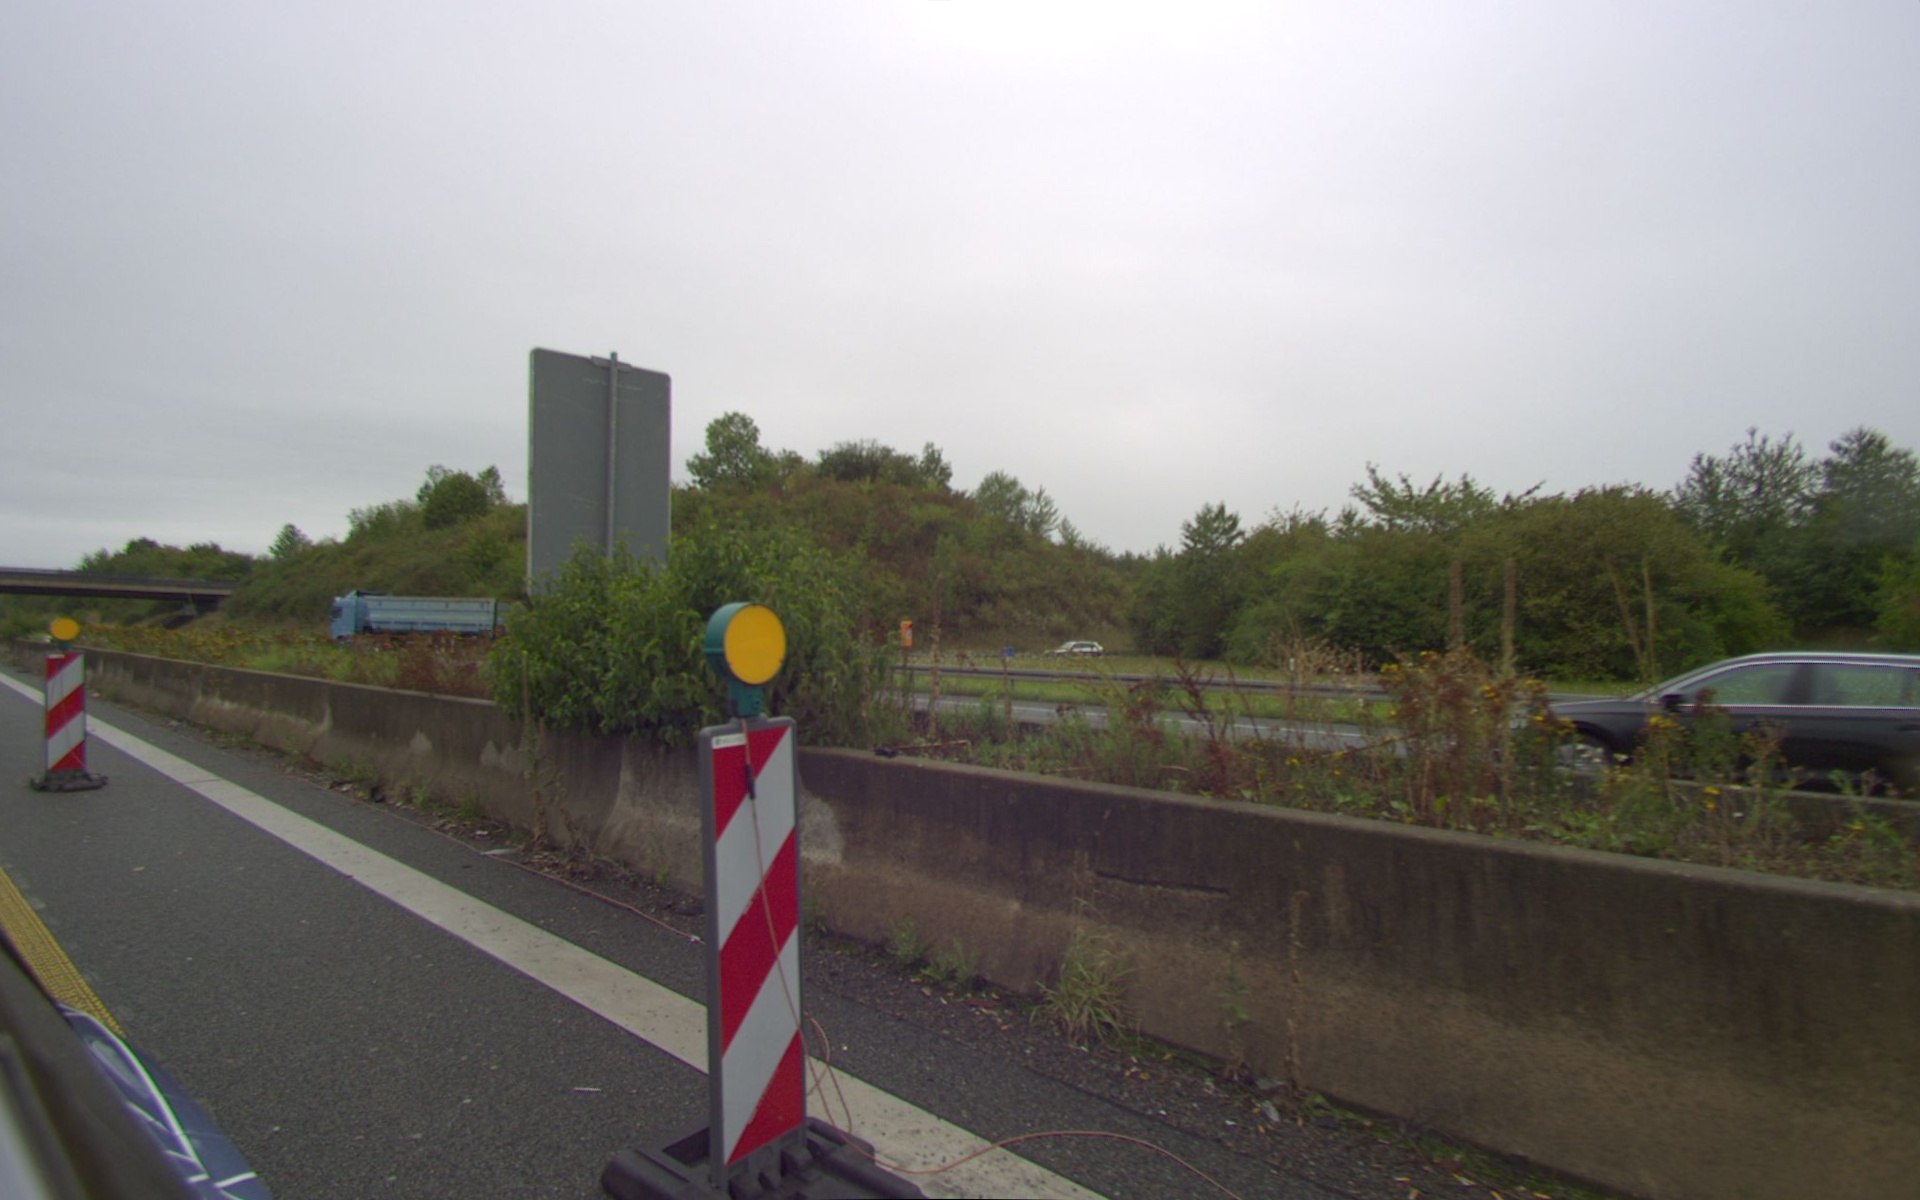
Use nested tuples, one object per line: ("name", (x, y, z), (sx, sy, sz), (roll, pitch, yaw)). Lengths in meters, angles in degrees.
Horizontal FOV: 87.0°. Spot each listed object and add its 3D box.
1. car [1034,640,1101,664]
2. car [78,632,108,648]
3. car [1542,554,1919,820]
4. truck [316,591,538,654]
("car", (6.855, 3.300, 64.353), (3.932, 1.414, 1.926), (2, -2, -32))
("car", (-100.274, 4.592, 117.023), (4.226, 1.803, 1.973), (-2, -3, 40))
("car", (7.560, 0.659, 8.804), (4.000, 2.029, 1.972), (0, 0, 43))
("truck", (-32.872, 1.385, 62.213), (14.462, 3.647, 2.883), (0, -2, 19))
